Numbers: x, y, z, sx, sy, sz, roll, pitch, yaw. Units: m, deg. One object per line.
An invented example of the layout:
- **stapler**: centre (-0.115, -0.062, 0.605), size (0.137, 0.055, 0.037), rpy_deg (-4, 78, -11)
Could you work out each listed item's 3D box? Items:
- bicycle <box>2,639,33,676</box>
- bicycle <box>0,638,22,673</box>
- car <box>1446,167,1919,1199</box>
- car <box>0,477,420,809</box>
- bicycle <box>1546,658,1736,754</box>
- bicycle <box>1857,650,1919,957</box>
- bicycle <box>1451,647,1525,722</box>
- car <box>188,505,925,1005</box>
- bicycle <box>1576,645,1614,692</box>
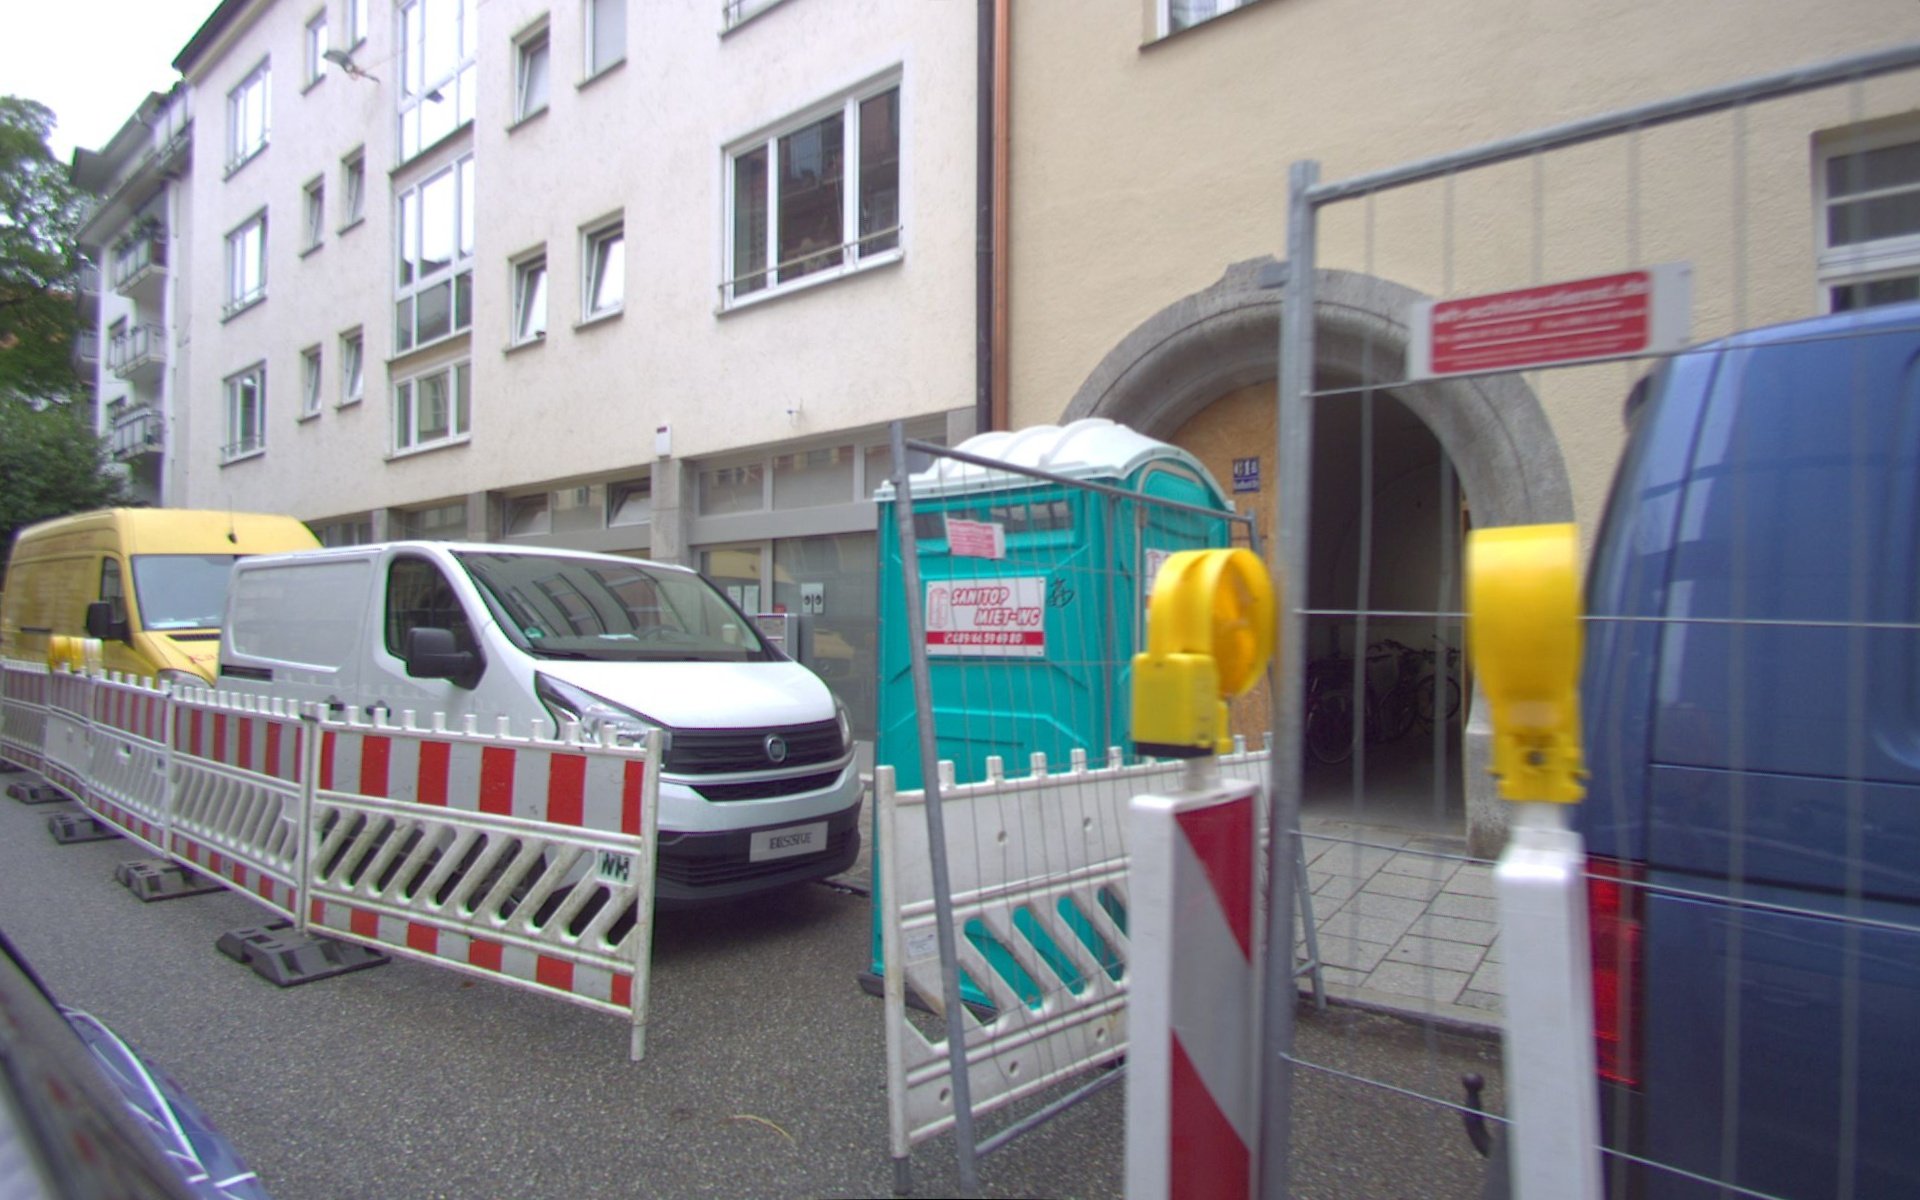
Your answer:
- **bicycle**: centre (-27.474, 1.653, 29.497), size (1.814, 0.986, 0.439), rpy_deg (0, 1, 40)
- **bicycle**: centre (-28.909, 1.674, 30.687), size (1.852, 0.986, 0.439), rpy_deg (0, 1, 40)
- **car**: centre (3.367, 0.466, 0.397), size (5.501, 1.912, 1.710), rpy_deg (-1, -4, 39)
- **car**: centre (-8.342, 0.422, 10.781), size (6.727, 2.598, 1.974), rpy_deg (-1, -3, 38)
- **bicycle**: centre (7.714, 1.174, 11.520), size (1.750, 0.954, 0.502), rpy_deg (-1, -1, 40)
- **bicycle**: centre (4.715, 0.780, 3.653), size (2.128, 1.197, 0.378), rpy_deg (-2, -2, 31)
- **bicycle**: centre (8.250, 1.283, 15.784), size (0.762, 1.029, 1.730), rpy_deg (-1, -1, 37)
- **car**: centre (-2.670, 0.673, 6.110), size (4.783, 1.912, 1.899), rpy_deg (-1, -4, 37)
- **bicycle**: centre (15.420, 1.644, 24.554), size (0.623, 1.047, 1.730), rpy_deg (-1, -1, 37)
